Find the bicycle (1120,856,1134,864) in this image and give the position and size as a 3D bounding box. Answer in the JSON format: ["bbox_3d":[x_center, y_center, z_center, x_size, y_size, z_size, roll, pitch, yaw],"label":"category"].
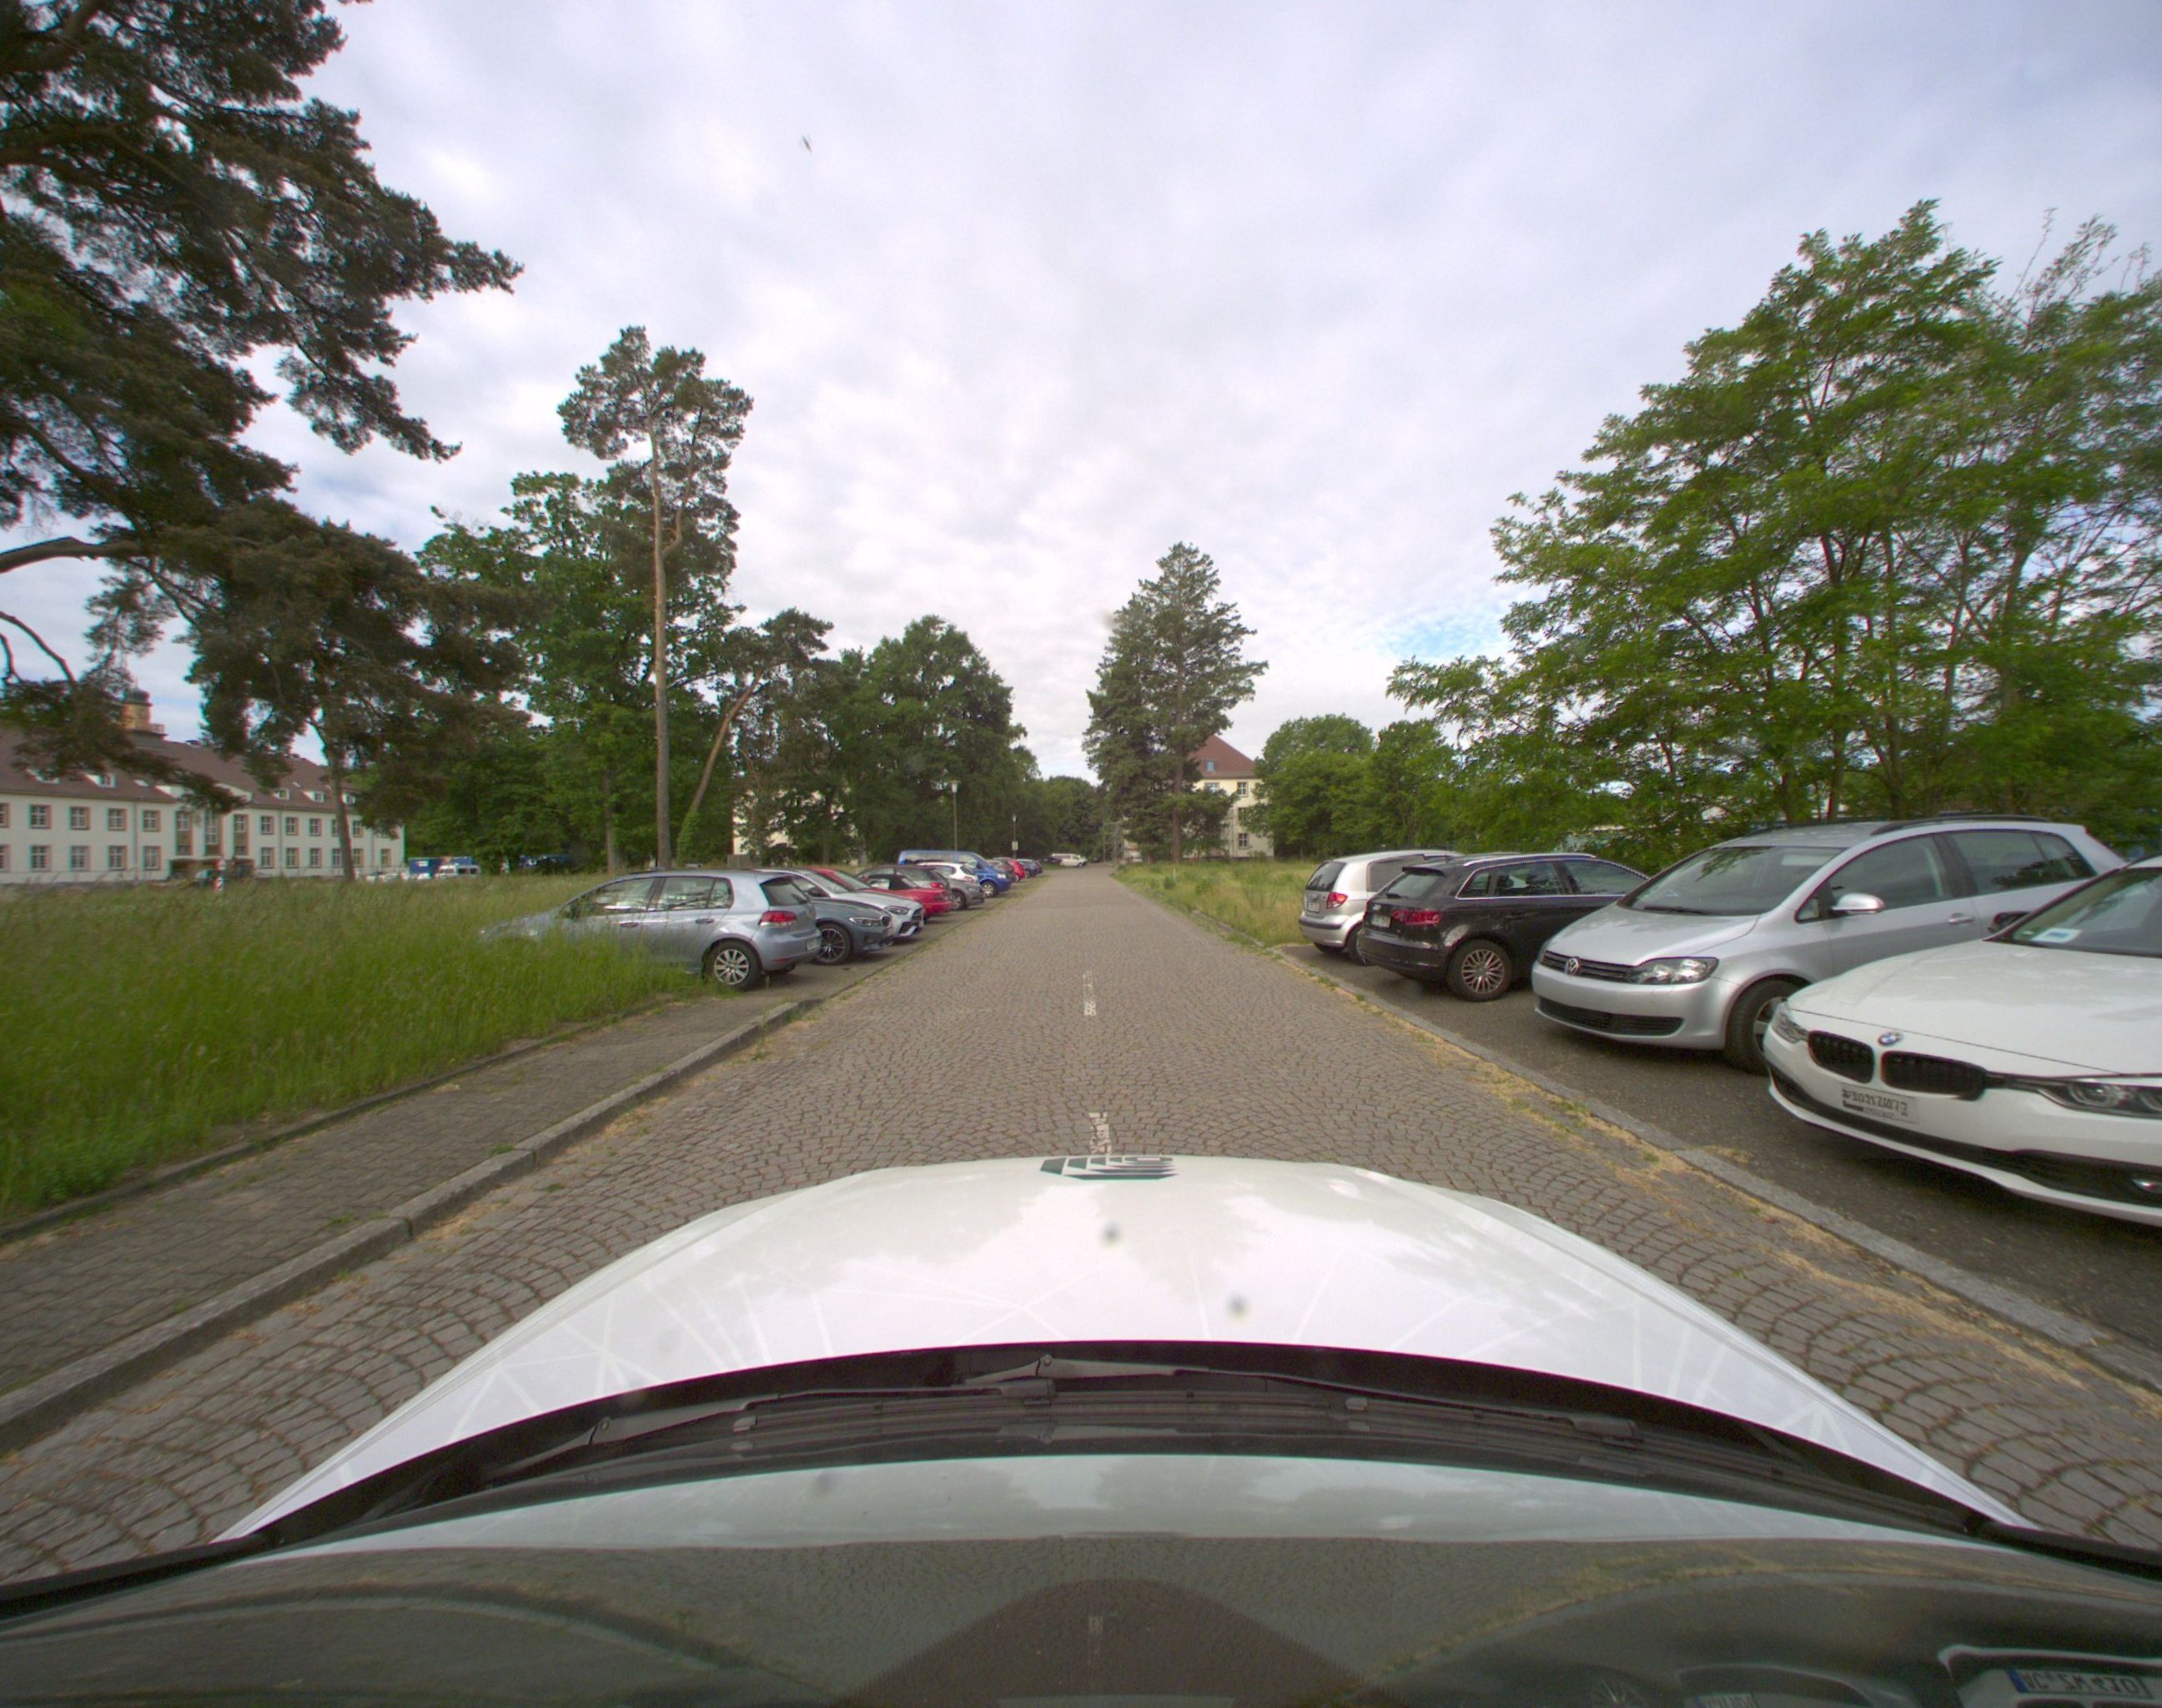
[{"bbox_3d":[7.620,0.988,134.827,2.232,1.254,0.778,-1,-1,1],"label":"bicycle"}]

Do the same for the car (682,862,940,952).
[{"bbox_3d":[-5.109,0.976,15.924,4.364,1.507,1.934,-1,0,-3],"label":"car"}]

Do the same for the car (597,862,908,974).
[{"bbox_3d":[-5.112,0.956,13.214,4.242,1.548,1.933,-1,0,-5],"label":"car"}]

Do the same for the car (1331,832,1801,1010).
[{"bbox_3d":[5.127,0.654,9.016,4.064,1.453,1.883,-4,0,-3],"label":"car"}]

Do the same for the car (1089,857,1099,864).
[{"bbox_3d":[2.968,1.386,183.810,1.946,1.522,3.997,-1,-1,-2],"label":"car"}]

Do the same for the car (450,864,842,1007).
[{"bbox_3d":[-5.361,0.955,10.499,3.976,1.543,1.904,-1,0,-2],"label":"car"}]

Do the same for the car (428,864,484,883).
[{"bbox_3d":[-68.636,2.099,89.561,1.986,2.014,5.233,-2,-1,2],"label":"car"}]

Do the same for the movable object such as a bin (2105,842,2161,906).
[{"bbox_3d":[18.095,0.287,12.970,2.676,0.988,0.852,-1,0,-4],"label":"movable object such as a bin"}]

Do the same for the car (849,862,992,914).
[{"bbox_3d":[-5.068,1.056,26.148,4.151,1.491,1.865,-1,0,1],"label":"car"}]

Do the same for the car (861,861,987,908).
[{"bbox_3d":[-5.529,1.070,29.061,4.054,1.497,1.845,-1,0,0],"label":"car"}]

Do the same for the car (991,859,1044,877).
[{"bbox_3d":[-5.315,1.190,68.574,4.288,1.461,1.975,0,0,0],"label":"car"}]

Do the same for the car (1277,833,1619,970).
[{"bbox_3d":[5.121,0.626,11.725,4.064,1.515,1.802,-4,0,-3],"label":"car"}]

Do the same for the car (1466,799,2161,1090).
[{"bbox_3d":[5.568,0.559,6.308,4.232,1.596,1.882,-4,0,-5],"label":"car"}]

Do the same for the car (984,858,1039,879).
[{"bbox_3d":[-5.410,1.128,63.877,4.217,1.577,1.886,0,0,-2],"label":"car"}]

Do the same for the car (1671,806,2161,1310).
[{"bbox_3d":[5.641,0.553,3.758,4.483,1.565,1.903,-4,0,-3],"label":"car"}]

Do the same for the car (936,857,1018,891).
[{"bbox_3d":[-5.474,1.033,43.234,4.157,1.622,1.984,-1,0,-3],"label":"car"}]

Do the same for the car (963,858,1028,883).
[{"bbox_3d":[-5.580,1.057,53.602,4.045,1.525,1.903,-1,0,-2],"label":"car"}]

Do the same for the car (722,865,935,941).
[{"bbox_3d":[-5.534,1.055,18.266,4.154,1.476,1.863,-1,0,-2],"label":"car"}]

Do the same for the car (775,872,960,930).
[{"bbox_3d":[-5.302,1.169,20.641,4.152,1.266,1.831,-1,0,0],"label":"car"}]

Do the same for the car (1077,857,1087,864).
[{"bbox_3d":[0.301,1.460,183.467,2.113,1.522,3.997,-1,-1,-2],"label":"car"}]

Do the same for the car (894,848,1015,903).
[{"bbox_3d":[-5.255,0.891,34.359,4.769,2.122,2.114,-1,0,-2],"label":"car"}]

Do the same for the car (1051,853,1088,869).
[{"bbox_3d":[-1.727,0.989,117.451,5.223,2.168,1.998,-1,0,-3],"label":"car"}]

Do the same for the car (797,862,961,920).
[{"bbox_3d":[-5.684,1.030,23.291,4.152,1.482,1.845,-1,0,0],"label":"car"}]
